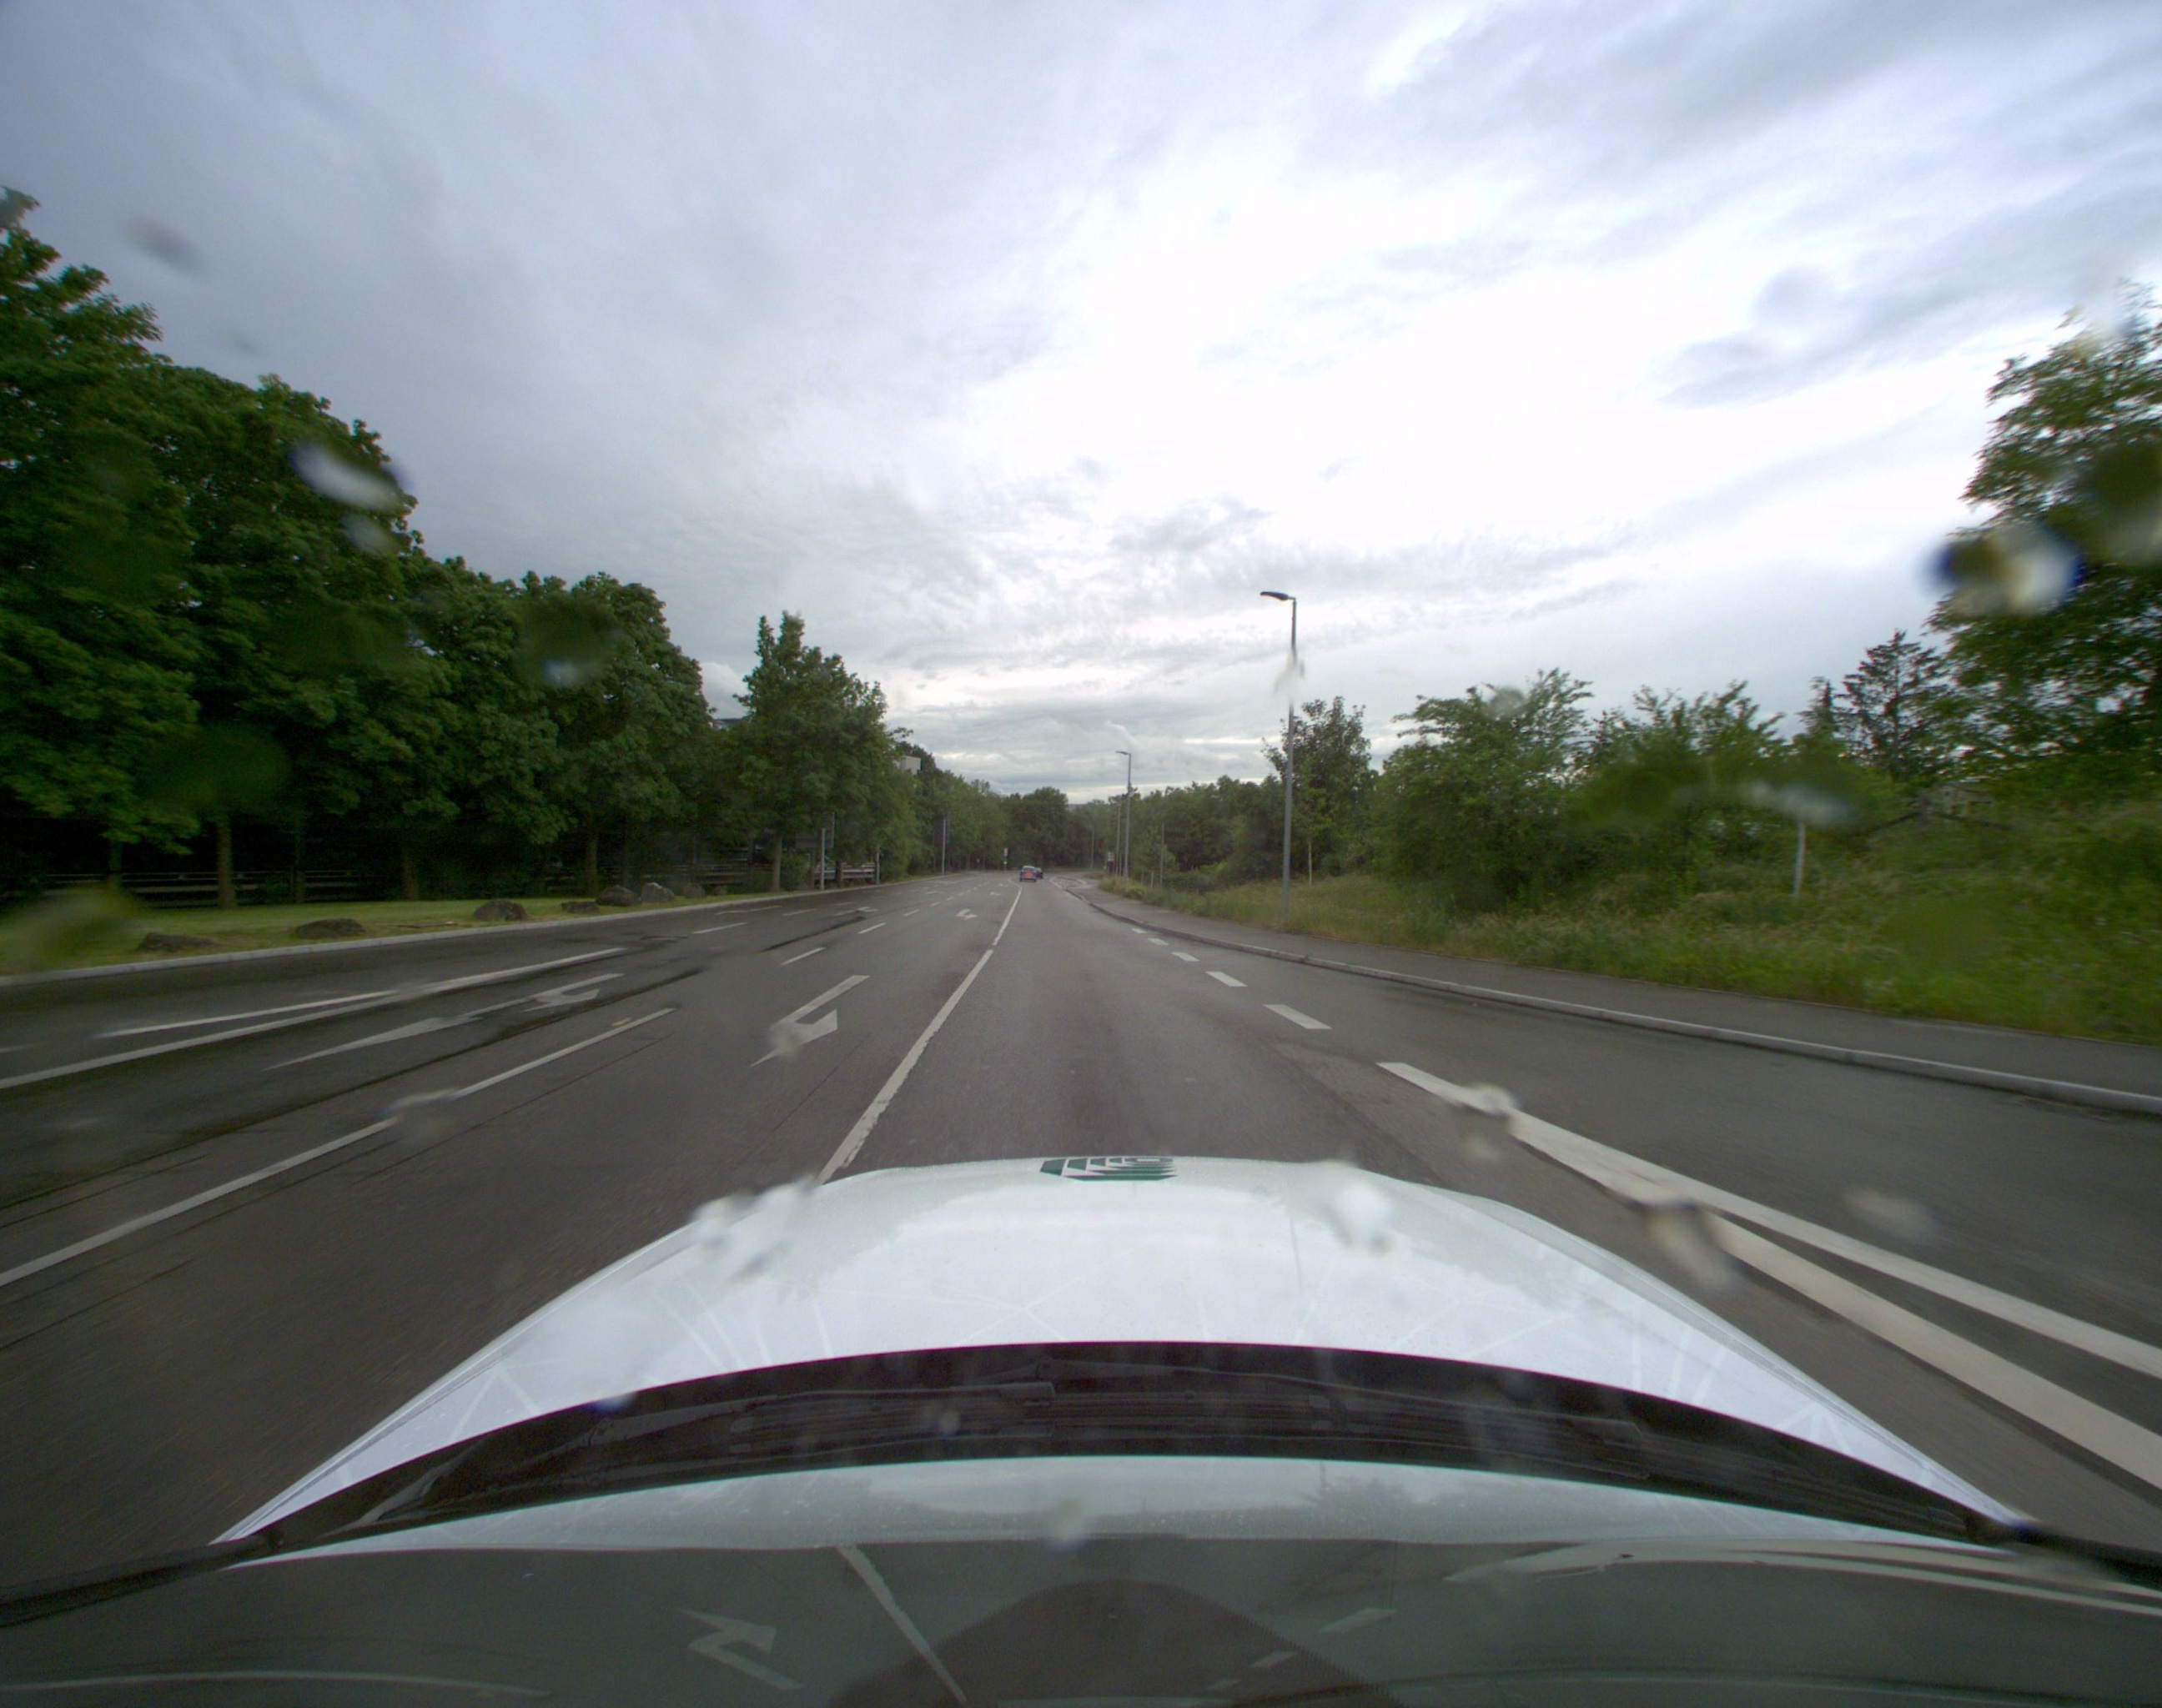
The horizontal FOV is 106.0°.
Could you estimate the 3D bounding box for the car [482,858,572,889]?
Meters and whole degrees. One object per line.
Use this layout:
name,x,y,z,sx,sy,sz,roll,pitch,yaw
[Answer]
car,-28.268,0.959,41.576,3.951,1.519,2.011,0,-1,24

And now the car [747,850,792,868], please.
car,-27.654,0.460,72.377,3.435,1.519,1.593,1,-1,18

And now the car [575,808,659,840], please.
car,-25.868,-1.678,45.421,3.952,1.519,2.011,4,0,24

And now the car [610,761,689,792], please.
car,-25.190,-4.518,47.564,3.952,1.519,2.011,4,0,24

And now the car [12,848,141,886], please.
car,-41.583,0.525,33.741,3.955,1.519,2.009,0,-1,18

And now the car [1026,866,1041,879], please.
car,-6.059,2.379,103.981,1.923,1.486,3.795,1,1,-4

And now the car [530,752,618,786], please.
car,-26.869,-4.486,43.189,3.952,1.519,2.011,4,0,24

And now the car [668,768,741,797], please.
car,-23.842,-4.537,51.555,3.952,1.519,2.011,4,0,24

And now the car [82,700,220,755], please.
car,-32.131,-4.346,28.143,3.952,1.519,2.011,4,0,24

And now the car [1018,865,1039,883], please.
car,-5.426,2.083,84.737,1.989,1.689,3.997,1,1,-2
